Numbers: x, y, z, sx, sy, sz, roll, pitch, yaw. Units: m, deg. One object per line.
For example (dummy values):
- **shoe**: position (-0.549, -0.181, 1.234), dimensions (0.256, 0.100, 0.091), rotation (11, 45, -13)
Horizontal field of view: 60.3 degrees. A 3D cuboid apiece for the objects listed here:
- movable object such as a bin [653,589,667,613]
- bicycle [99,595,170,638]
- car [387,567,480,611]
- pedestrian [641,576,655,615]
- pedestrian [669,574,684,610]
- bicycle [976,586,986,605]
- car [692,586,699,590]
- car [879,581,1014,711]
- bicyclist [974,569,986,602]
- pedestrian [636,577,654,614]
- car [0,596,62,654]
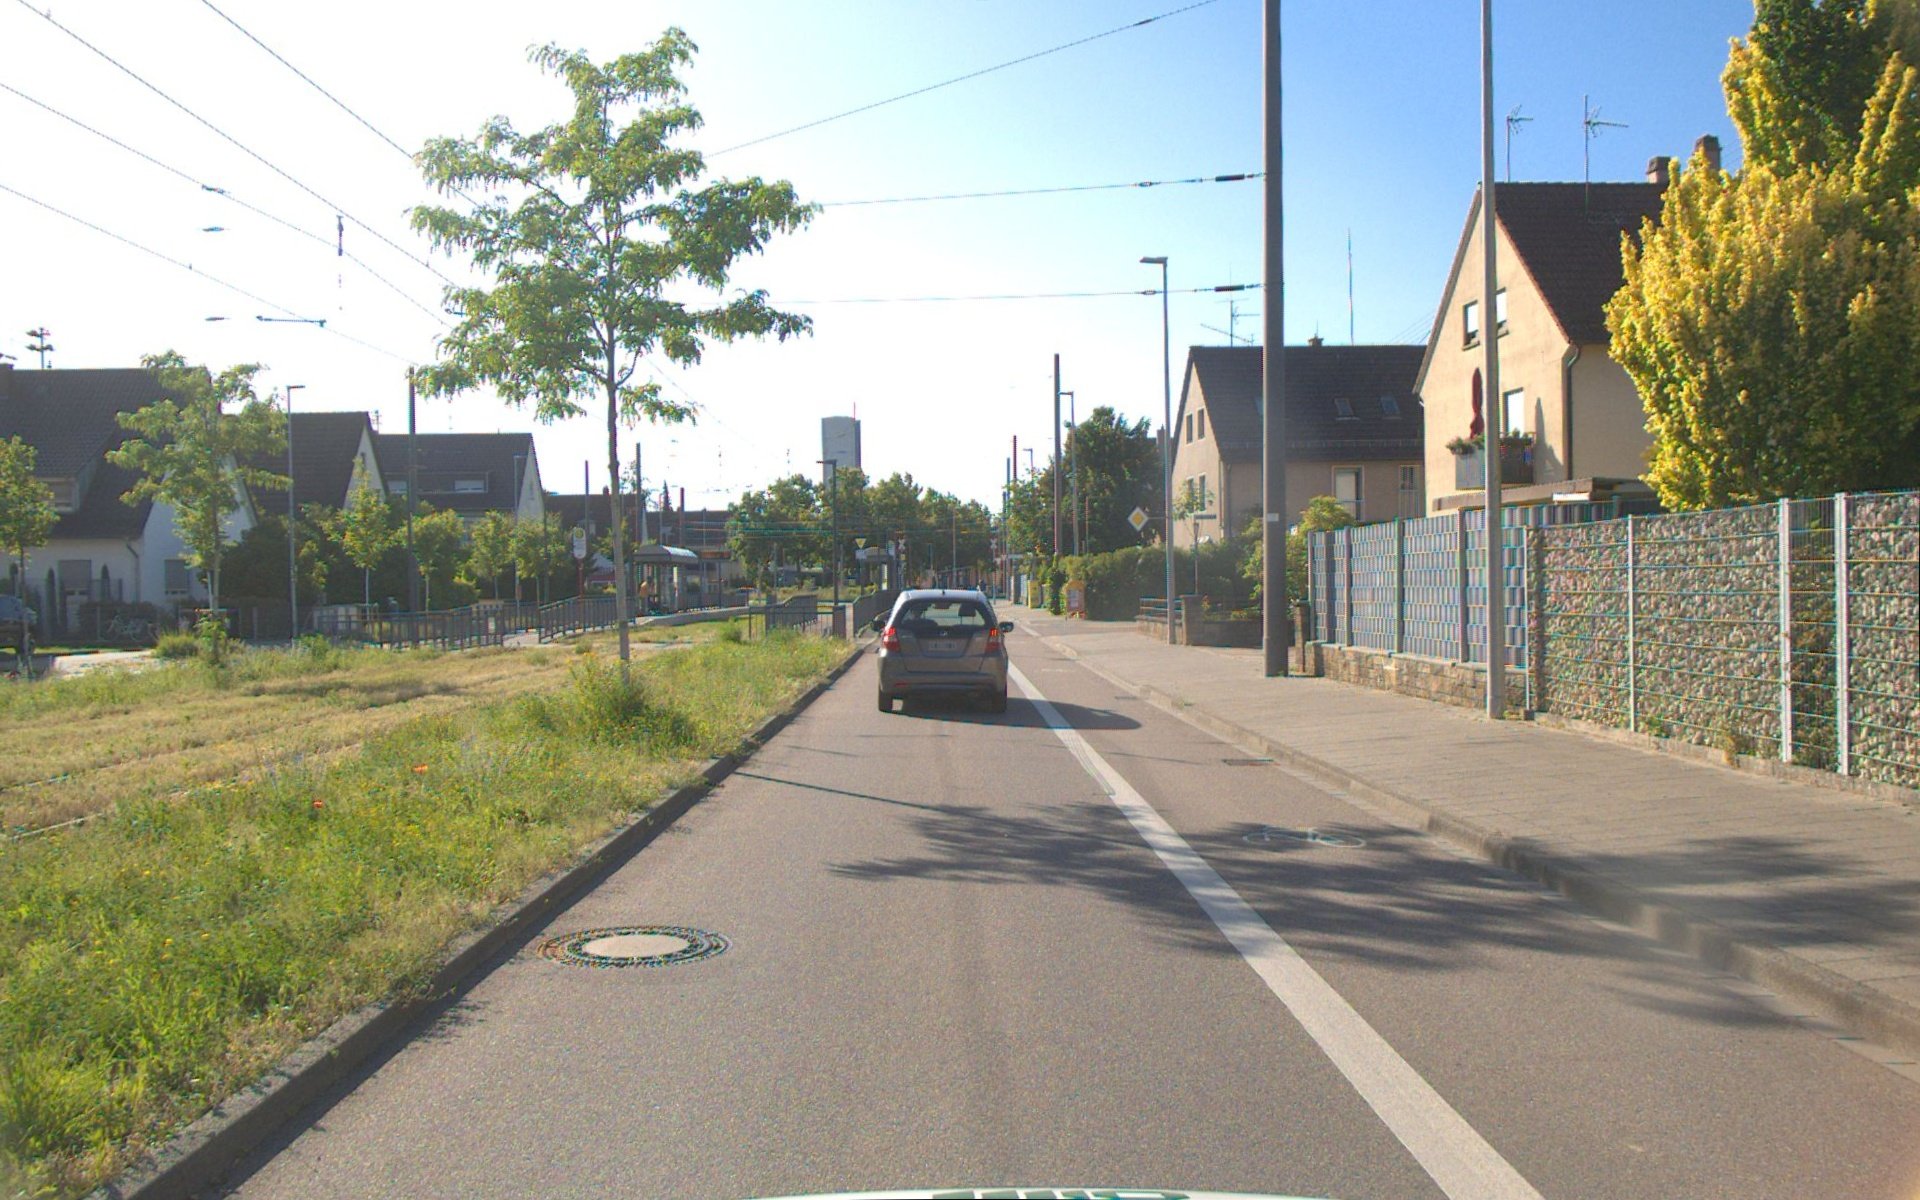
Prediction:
- **movable object such as a bin**: position (-12.935, 0.039, 71.292), dimensions (0.535, 1.005, 0.741), rotation (-1, 0, -5)
- **bicycle**: position (-27.336, 0.534, 54.800), dimensions (1.951, 1.389, 0.704), rotation (-1, 0, -8)
- **car**: position (-25.219, -0.519, 79.320), dimensions (3.913, 2.004, 1.929), rotation (1, 0, -9)
- **pedestrian**: position (-13.742, -0.198, 72.921), dimensions (0.509, 1.738, 0.580), rotation (-1, 0, -5)
- **pedestrian**: position (-13.760, -0.390, 80.209), dimensions (0.490, 1.726, 0.771), rotation (-3, 0, 0)
- **bicycle**: position (1.088, -0.245, 85.558), dimensions (0.465, 0.978, 1.657), rotation (1, 0, 0)
- **car**: position (-26.002, -1.158, 162.533), dimensions (0.684, 0.342, 0.330), rotation (1, 0, 4)
- **car**: position (-0.208, 0.559, 21.928), dimensions (1.637, 1.562, 3.486), rotation (1, 0, -2)
- **bicyclist**: position (1.031, -0.742, 85.331), dimensions (0.586, 1.731, 0.683), rotation (1, -1, -1)
- **pedestrian**: position (-13.576, -0.191, 71.248), dimensions (0.662, 1.562, 0.748), rotation (-1, 0, -5)
- **car**: position (-25.749, 0.657, 43.133), dimensions (1.895, 1.475, 5.162), rotation (-1, 0, -1)
